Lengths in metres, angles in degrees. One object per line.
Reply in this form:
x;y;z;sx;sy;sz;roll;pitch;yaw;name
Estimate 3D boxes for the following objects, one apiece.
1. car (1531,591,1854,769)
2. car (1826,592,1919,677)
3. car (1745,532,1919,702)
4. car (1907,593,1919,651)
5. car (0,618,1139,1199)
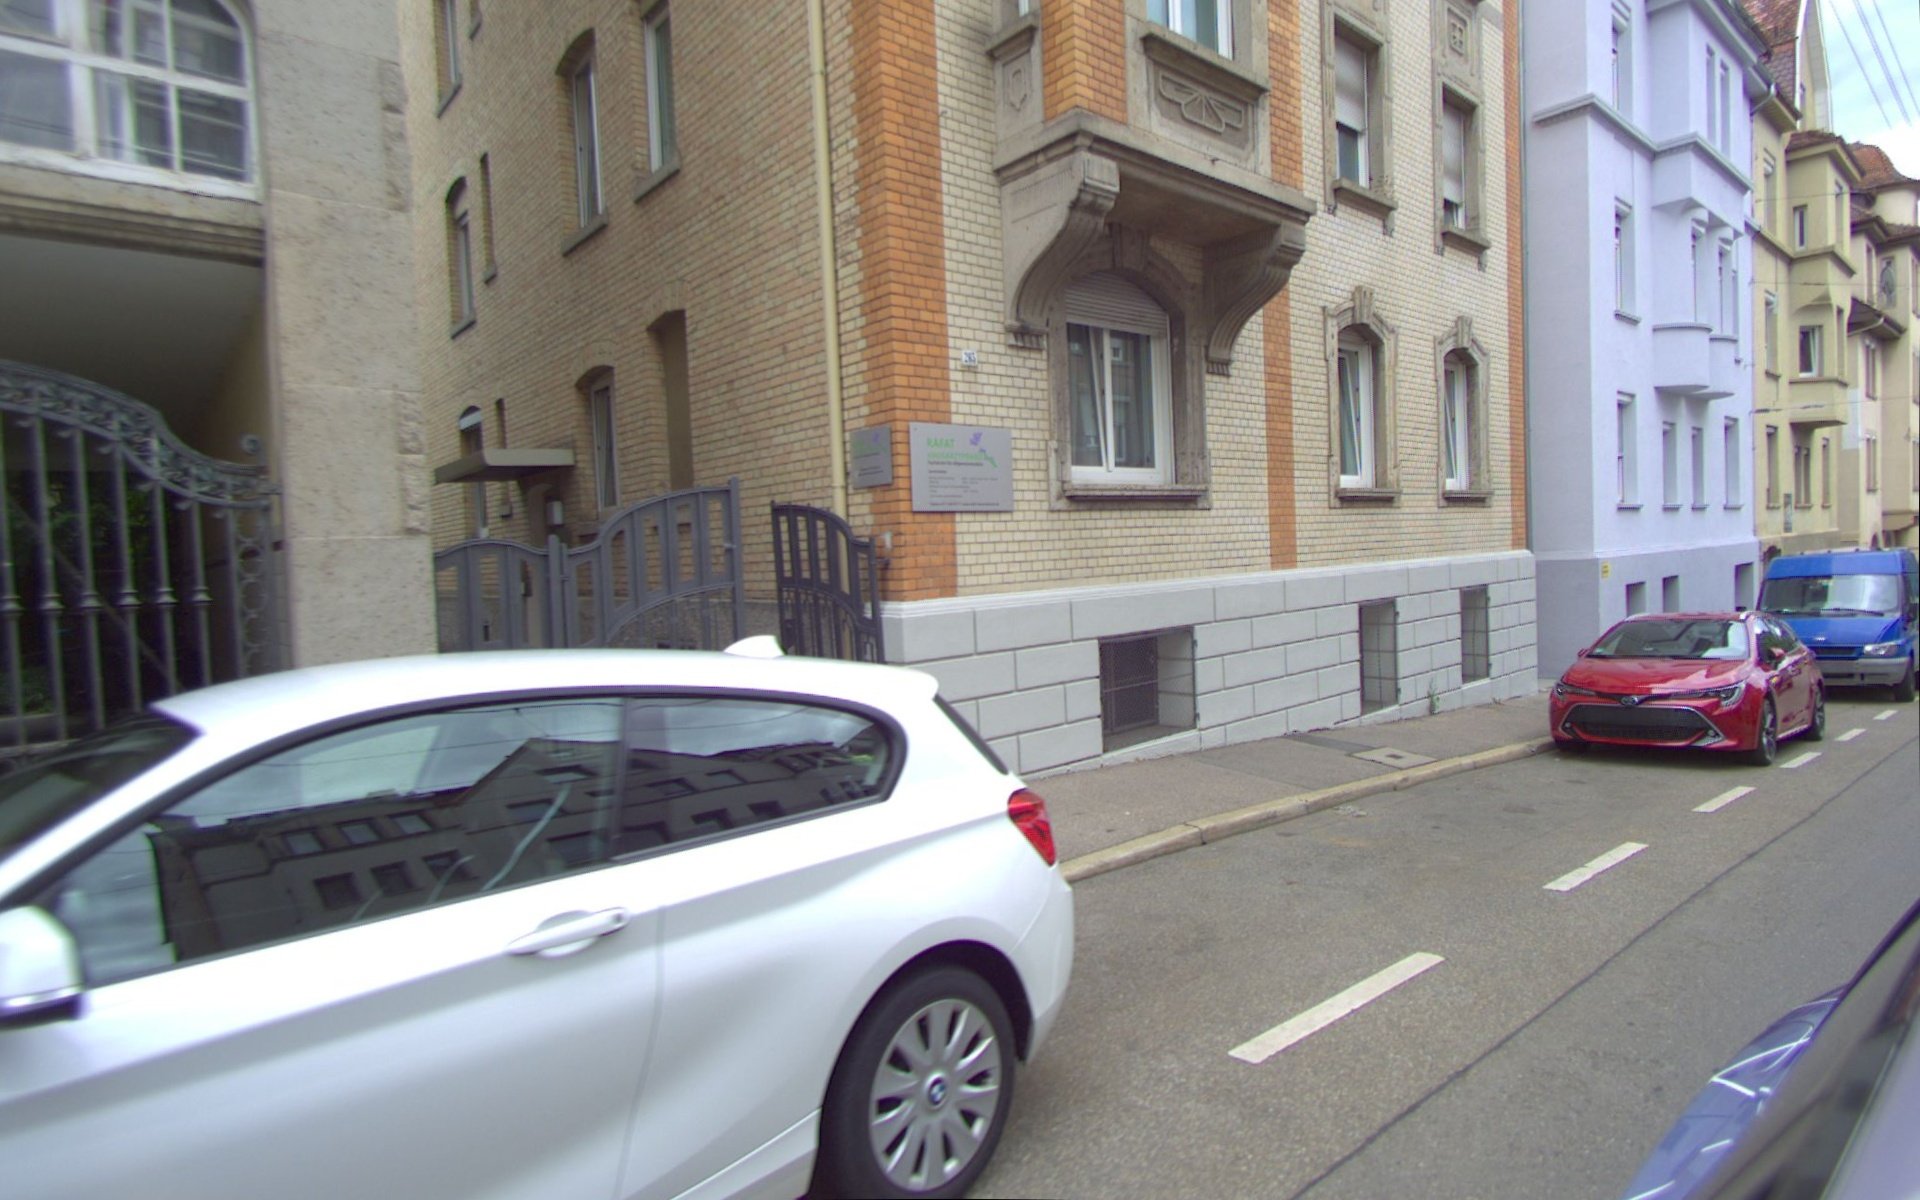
7.929;0.694;10.779;4.510;1.494;1.782;-1;-1;-41;car
18.691;0.623;19.993;4.120;1.550;1.781;-1;-3;-42;car
14.778;0.198;16.662;4.968;2.406;1.997;-1;0;-41;car
27.692;0.567;27.904;3.956;1.538;1.830;0;-2;-40;car
-1.650;0.803;2.147;4.234;1.408;1.752;-1;-1;-42;car
